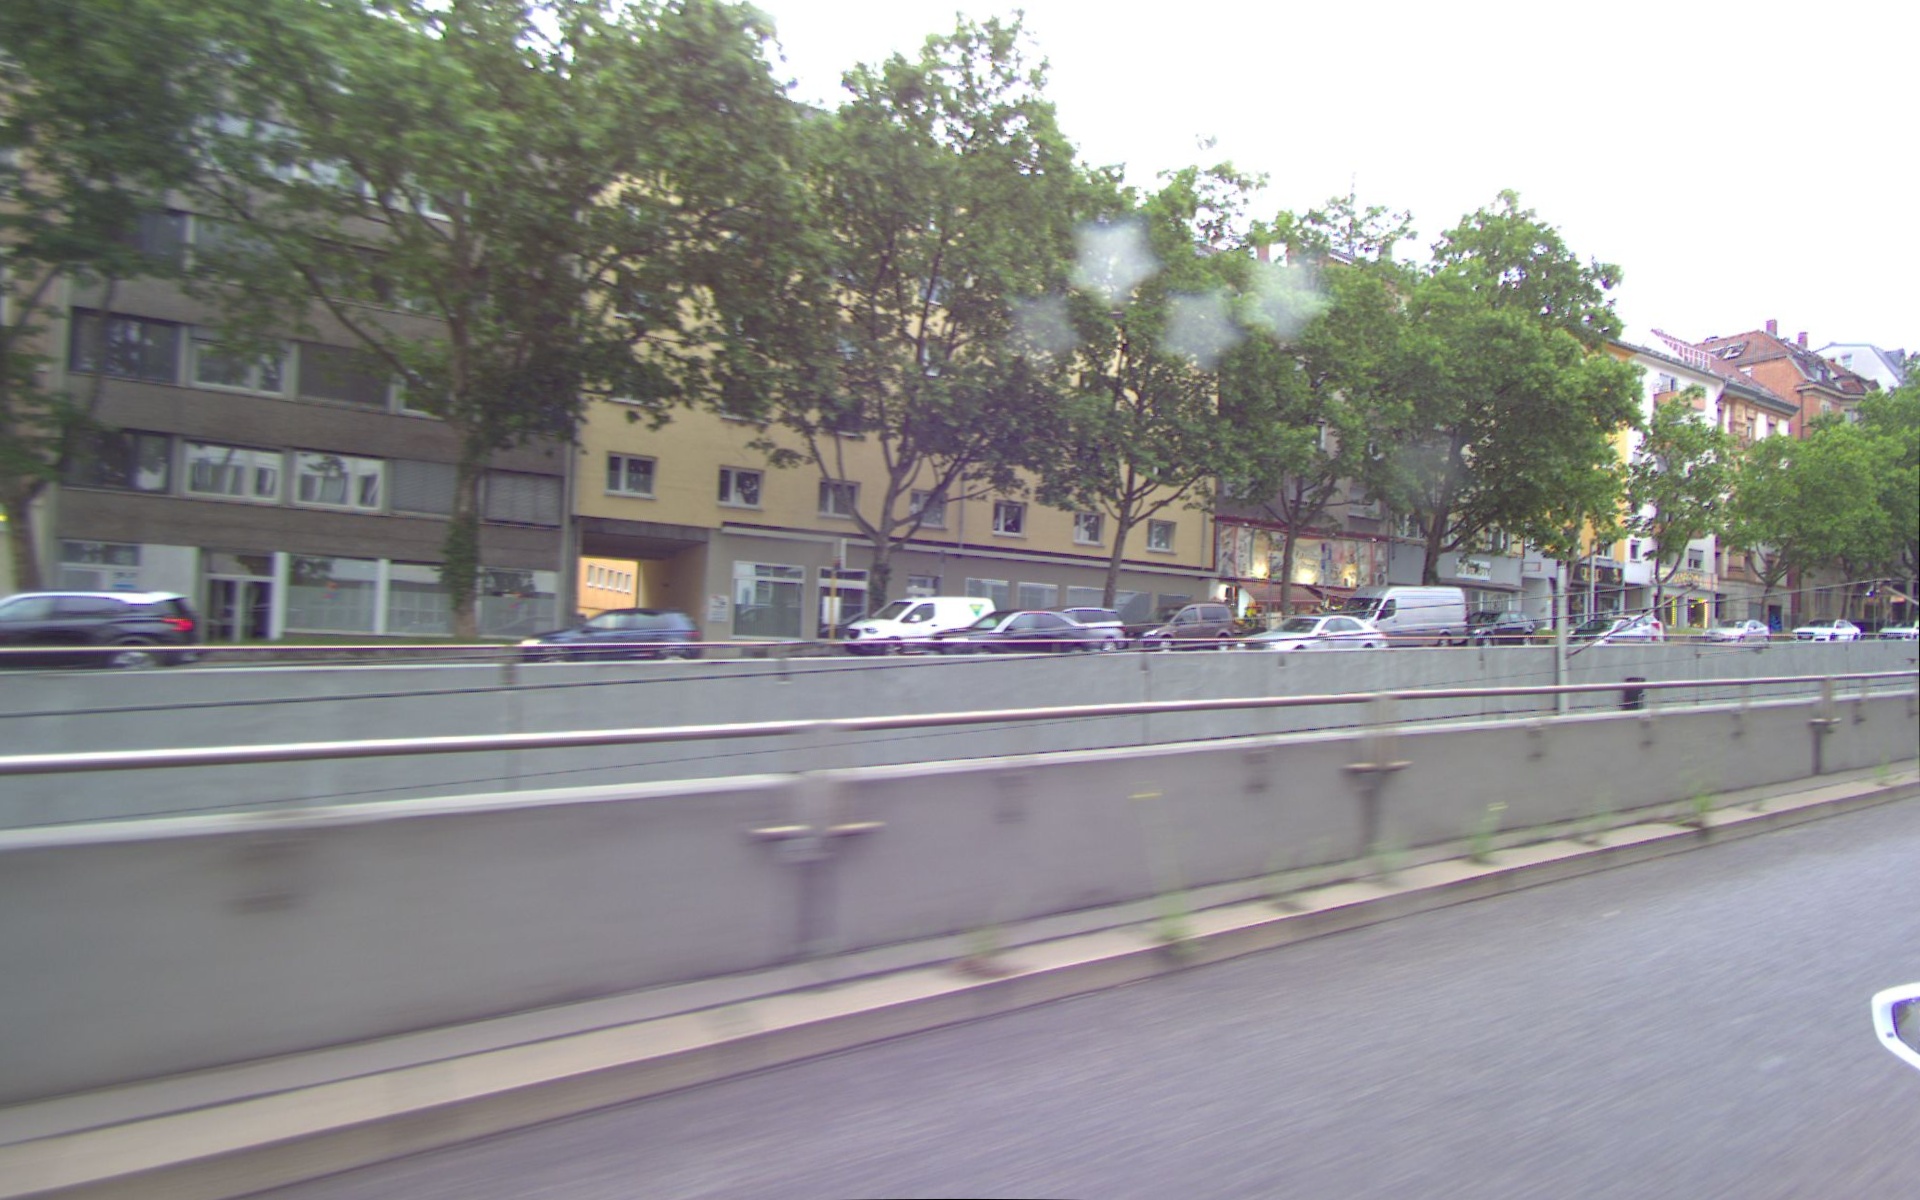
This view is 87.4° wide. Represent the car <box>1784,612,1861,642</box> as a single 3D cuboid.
[{"bbox_3d":[50.967,1.577,59.325,5.138,1.622,1.917,1,0,-31],"label":"car"}]

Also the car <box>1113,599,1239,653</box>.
[{"bbox_3d":[7.401,0.863,34.319,4.160,1.752,1.784,1,0,-33],"label":"car"}]

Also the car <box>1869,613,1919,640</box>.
[{"bbox_3d":[60.315,1.680,64.520,4.065,1.633,1.785,1,0,-31],"label":"car"}]

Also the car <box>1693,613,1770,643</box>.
[{"bbox_3d":[41.356,1.485,53.825,4.157,1.530,1.786,1,0,-30],"label":"car"}]

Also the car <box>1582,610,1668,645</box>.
[{"bbox_3d":[32.361,1.312,48.863,4.157,1.592,1.786,1,0,-30],"label":"car"}]

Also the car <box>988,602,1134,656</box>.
[{"bbox_3d":[3.269,0.891,32.221,4.422,1.604,1.867,1,0,-32],"label":"car"}]

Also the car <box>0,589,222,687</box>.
[{"bbox_3d":[-15.603,0.625,17.708,3.969,1.601,1.786,1,0,-30],"label":"car"}]

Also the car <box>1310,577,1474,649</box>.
[{"bbox_3d":[17.424,0.523,40.376,6.849,2.698,2.441,1,0,-30],"label":"car"}]

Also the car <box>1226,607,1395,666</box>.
[{"bbox_3d":[9.932,0.986,28.343,4.763,1.530,1.838,1,0,-30],"label":"car"}]

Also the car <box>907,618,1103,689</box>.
[{"bbox_3d":[1.089,1.235,23.531,4.293,1.530,1.786,2,-1,-30],"label":"car"}]

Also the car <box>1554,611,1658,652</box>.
[{"bbox_3d":[26.219,1.260,40.774,3.966,1.530,1.839,1,0,-28],"label":"car"}]

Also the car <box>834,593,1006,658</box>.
[{"bbox_3d":[-1.132,0.723,29.718,4.850,1.788,1.865,1,0,-34],"label":"car"}]

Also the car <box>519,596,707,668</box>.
[{"bbox_3d":[-8.061,0.731,23.511,4.001,1.571,1.693,1,0,-21],"label":"car"}]

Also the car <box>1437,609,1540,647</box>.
[{"bbox_3d":[22.822,1.183,43.348,4.616,1.530,1.785,1,0,-30],"label":"car"}]
